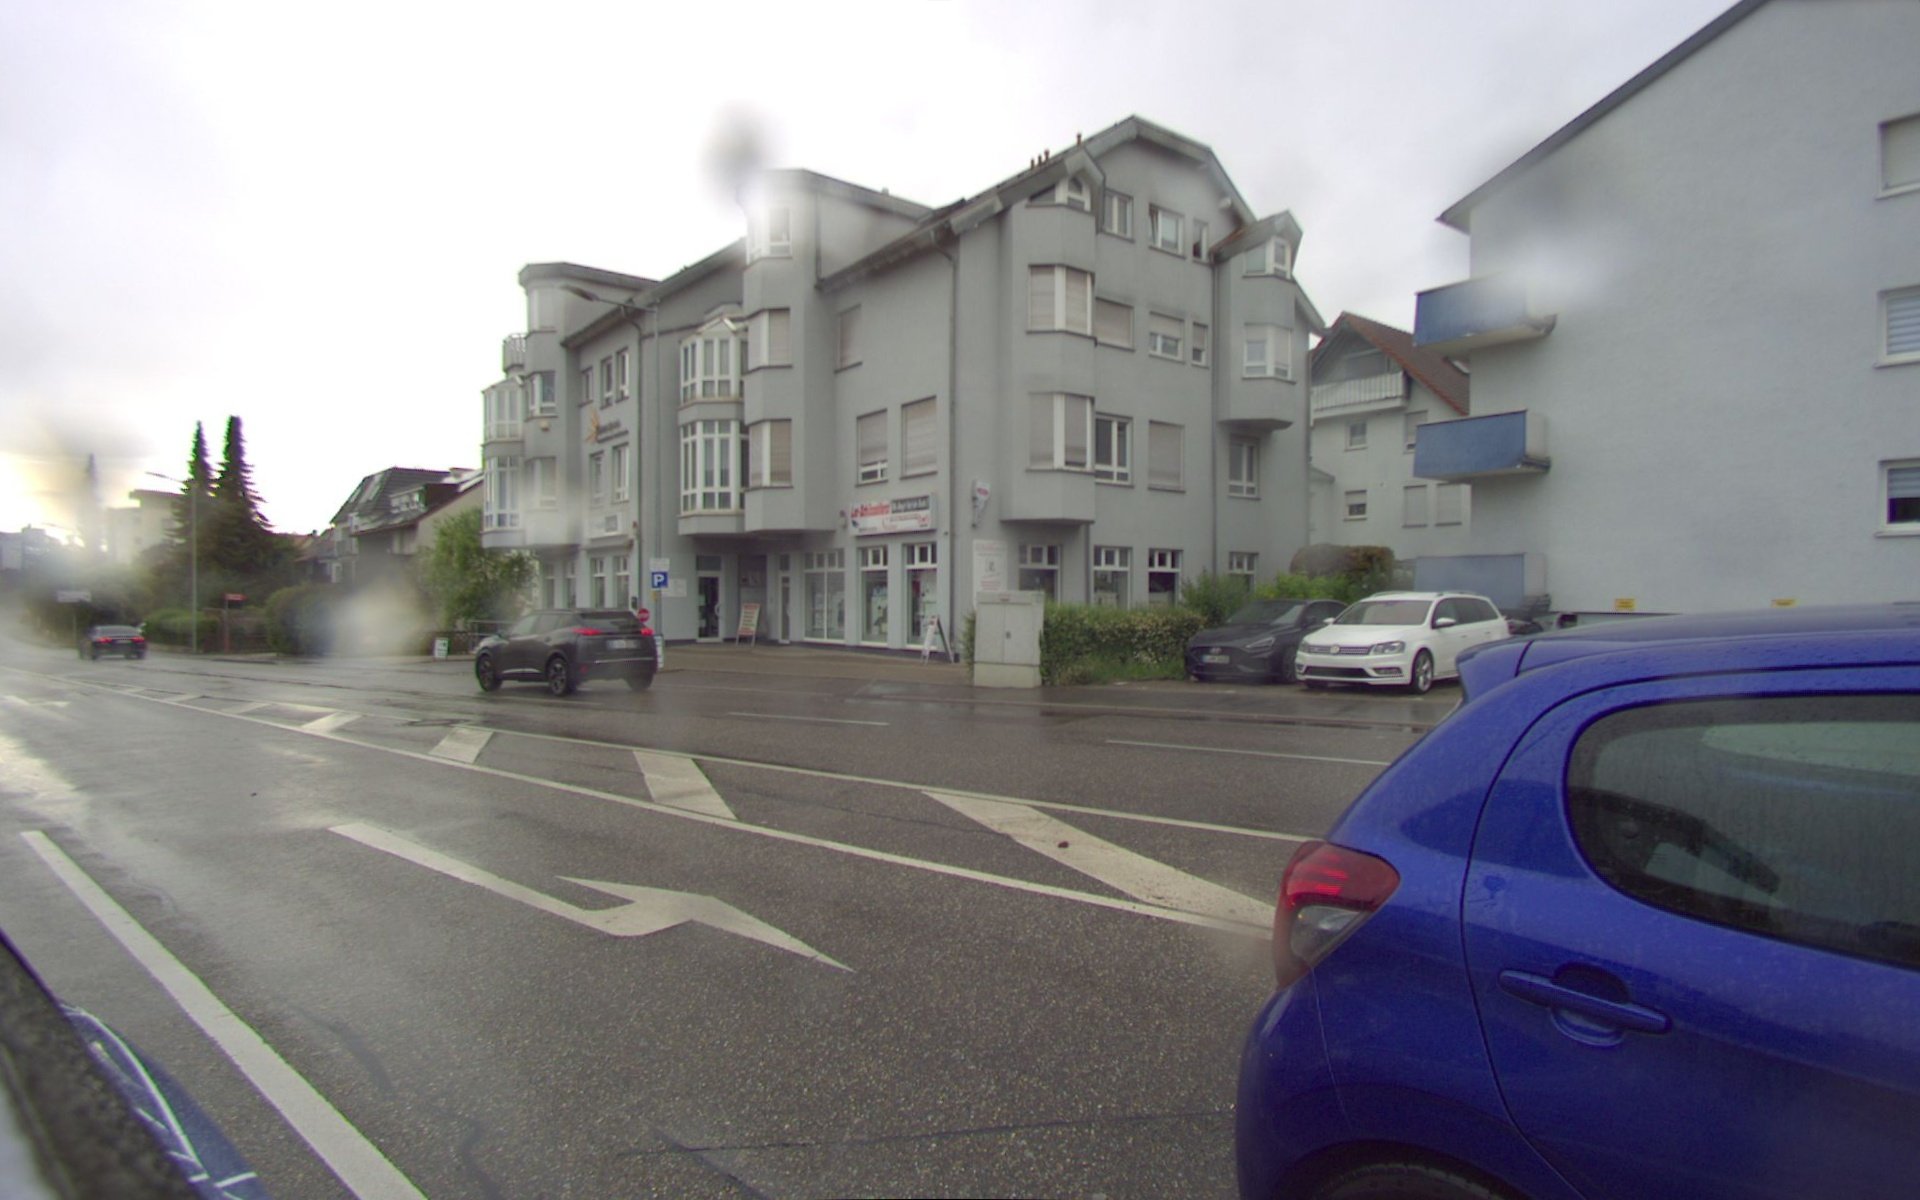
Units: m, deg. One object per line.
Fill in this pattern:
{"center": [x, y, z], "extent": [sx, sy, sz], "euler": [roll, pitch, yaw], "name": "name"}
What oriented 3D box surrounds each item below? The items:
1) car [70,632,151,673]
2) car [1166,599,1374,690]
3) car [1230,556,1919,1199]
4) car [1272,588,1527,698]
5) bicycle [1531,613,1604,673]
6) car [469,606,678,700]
{"center": [-38.106, 2.300, 45.350], "extent": [4.534, 1.637, 1.974], "euler": [-1, 0, 39], "name": "car"}
{"center": [5.492, 0.689, 17.666], "extent": [1.851, 1.366, 3.941], "euler": [-1, 0, 45], "name": "car"}
{"center": [2.233, 0.631, 1.213], "extent": [3.362, 1.423, 1.489], "euler": [-2, -1, 41], "name": "car"}
{"center": [6.980, 0.603, 15.821], "extent": [4.685, 1.471, 1.883], "euler": [0, -2, -42], "name": "car"}
{"center": [11.142, 0.792, 18.577], "extent": [1.065, 1.061, 0.343], "euler": [-2, -1, 41], "name": "bicycle"}
{"center": [-7.207, 0.894, 18.711], "extent": [3.997, 1.523, 1.947], "euler": [-1, 0, 40], "name": "car"}
